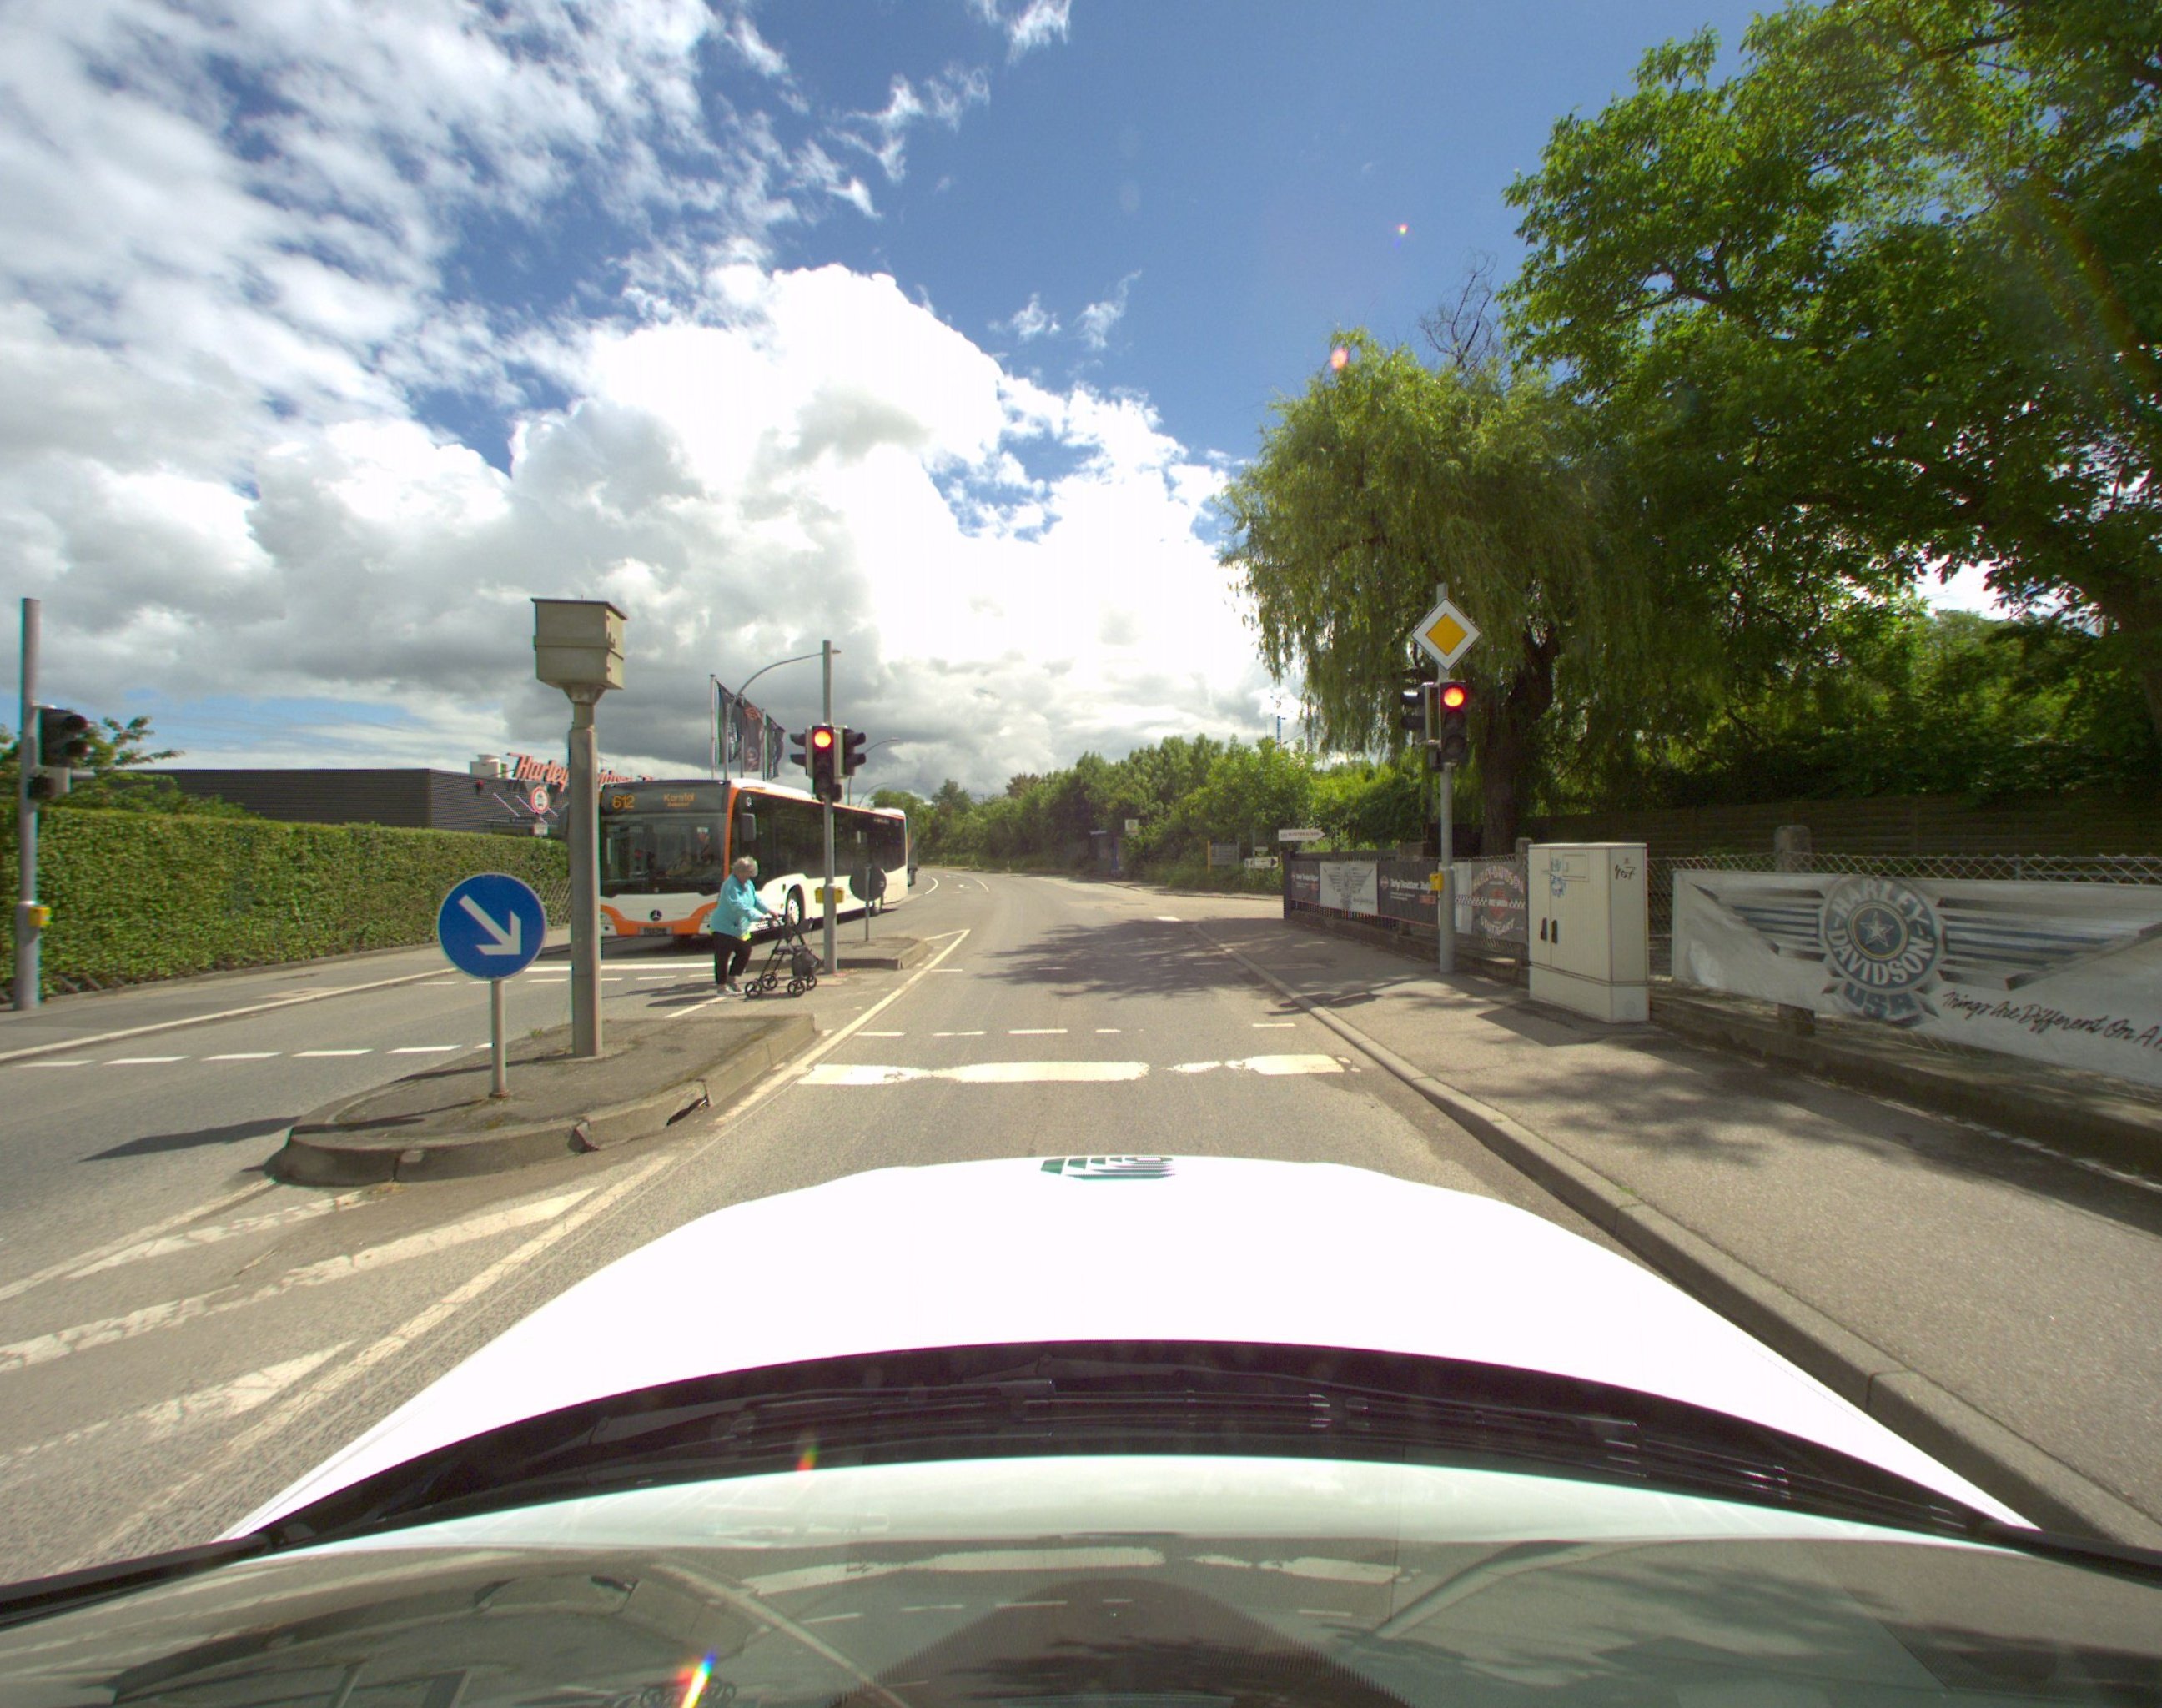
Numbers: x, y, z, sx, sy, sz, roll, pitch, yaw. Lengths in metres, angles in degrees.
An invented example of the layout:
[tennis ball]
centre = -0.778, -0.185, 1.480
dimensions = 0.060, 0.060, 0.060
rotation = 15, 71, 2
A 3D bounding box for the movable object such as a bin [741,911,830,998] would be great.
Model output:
[movable object such as a bin]
centre = -3.244, 1.090, 8.987
dimensions = 0.744, 0.871, 0.670
rotation = 0, -1, -2

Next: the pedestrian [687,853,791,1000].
[pedestrian]
centre = -3.746, 0.767, 8.972
dimensions = 0.836, 1.543, 0.733
rotation = 0, -1, -2

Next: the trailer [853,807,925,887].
[trailer]
centre = -11.311, -0.291, 49.438
dimensions = 2.797, 4.053, 15.512
rotation = 0, 0, -8

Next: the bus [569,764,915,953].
[bus]
centre = -6.811, 0.123, 19.470
dimensions = 2.708, 3.031, 12.270
rotation = -2, -1, 2

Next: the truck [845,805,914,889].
[truck]
centre = -10.388, -0.322, 42.610
dimensions = 2.797, 4.053, 6.483
rotation = 0, -1, -8
